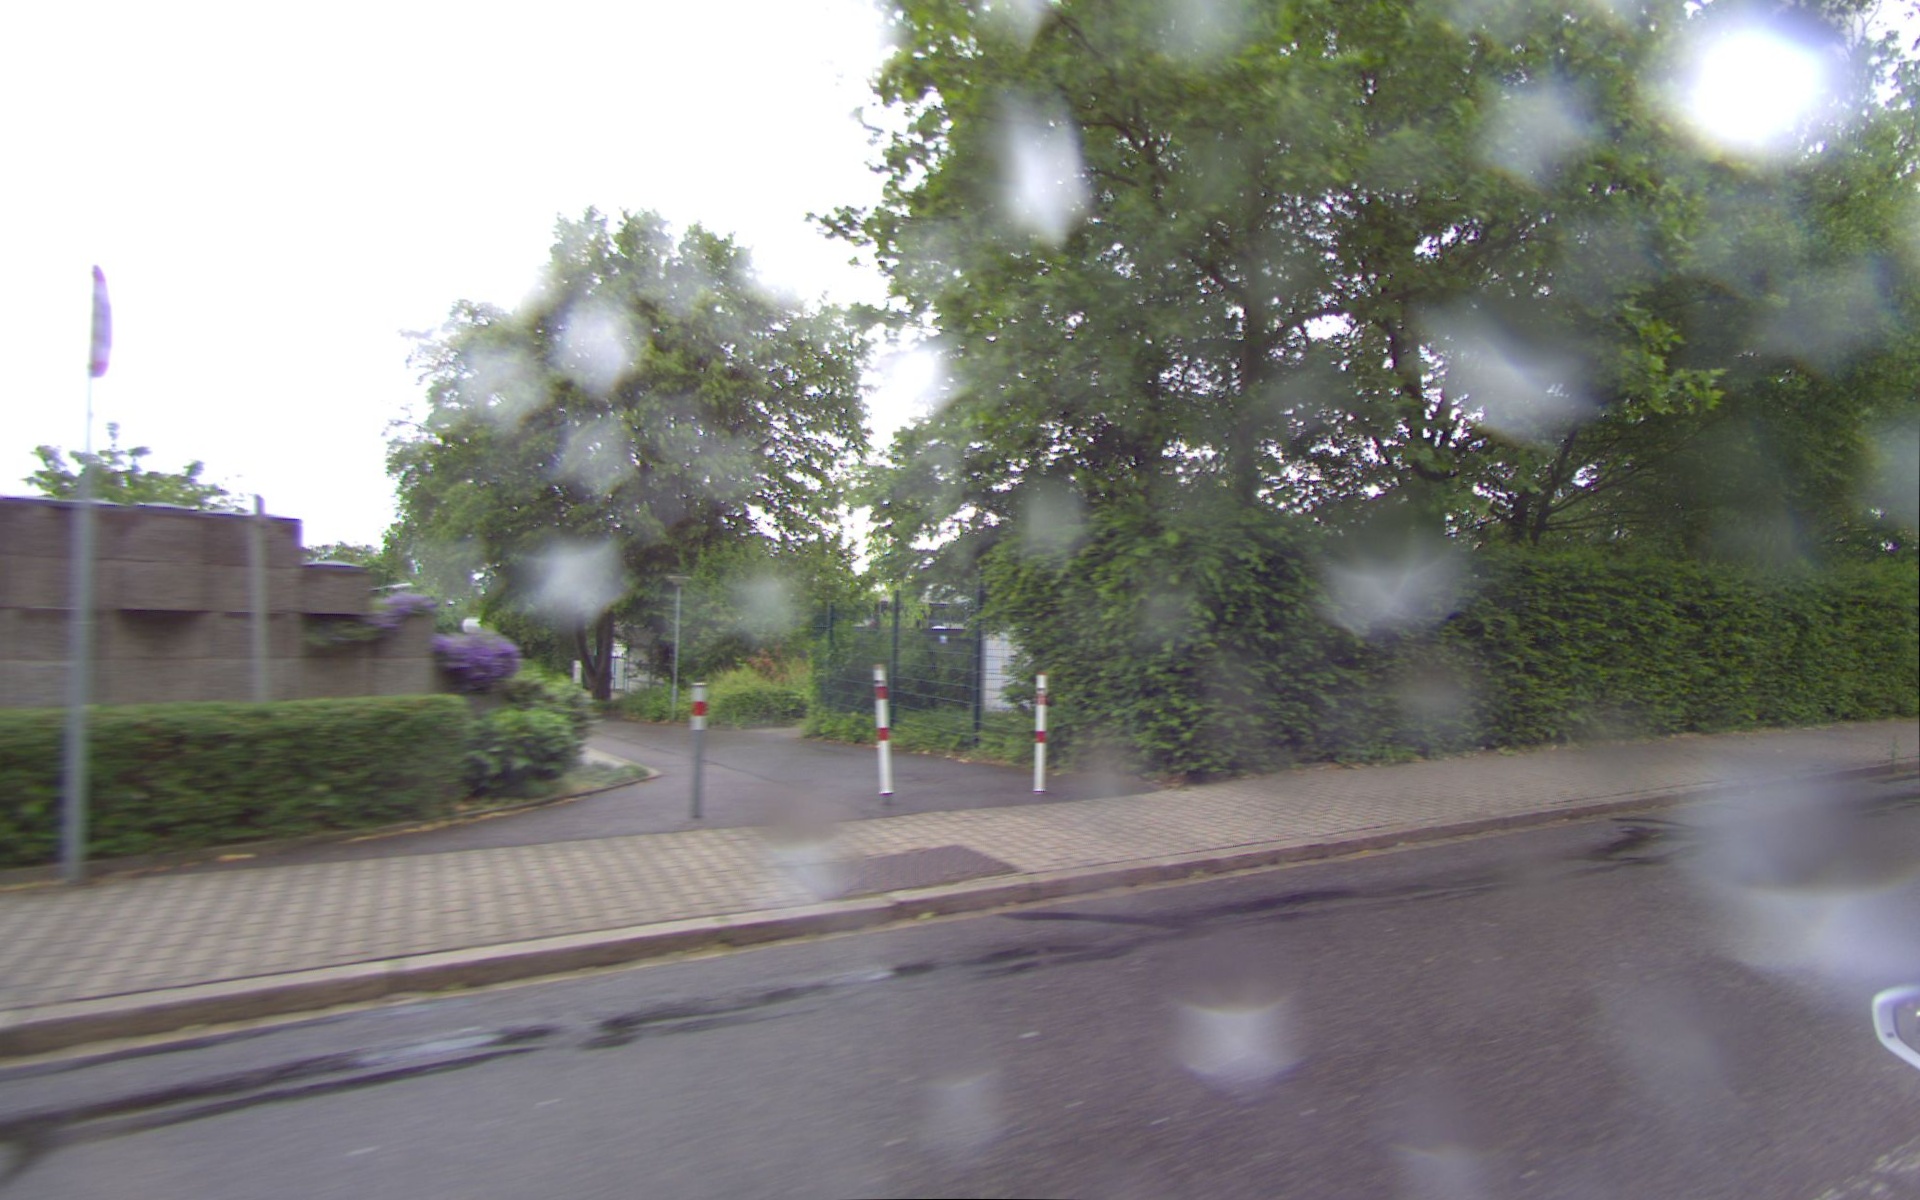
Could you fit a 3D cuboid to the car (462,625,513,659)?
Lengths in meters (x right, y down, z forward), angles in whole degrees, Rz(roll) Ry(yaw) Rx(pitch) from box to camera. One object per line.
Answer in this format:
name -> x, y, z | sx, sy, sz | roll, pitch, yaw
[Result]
car -> -29.290, 2.620, 62.264 | 1.864, 2.013, 3.953 | 2, -3, -41
